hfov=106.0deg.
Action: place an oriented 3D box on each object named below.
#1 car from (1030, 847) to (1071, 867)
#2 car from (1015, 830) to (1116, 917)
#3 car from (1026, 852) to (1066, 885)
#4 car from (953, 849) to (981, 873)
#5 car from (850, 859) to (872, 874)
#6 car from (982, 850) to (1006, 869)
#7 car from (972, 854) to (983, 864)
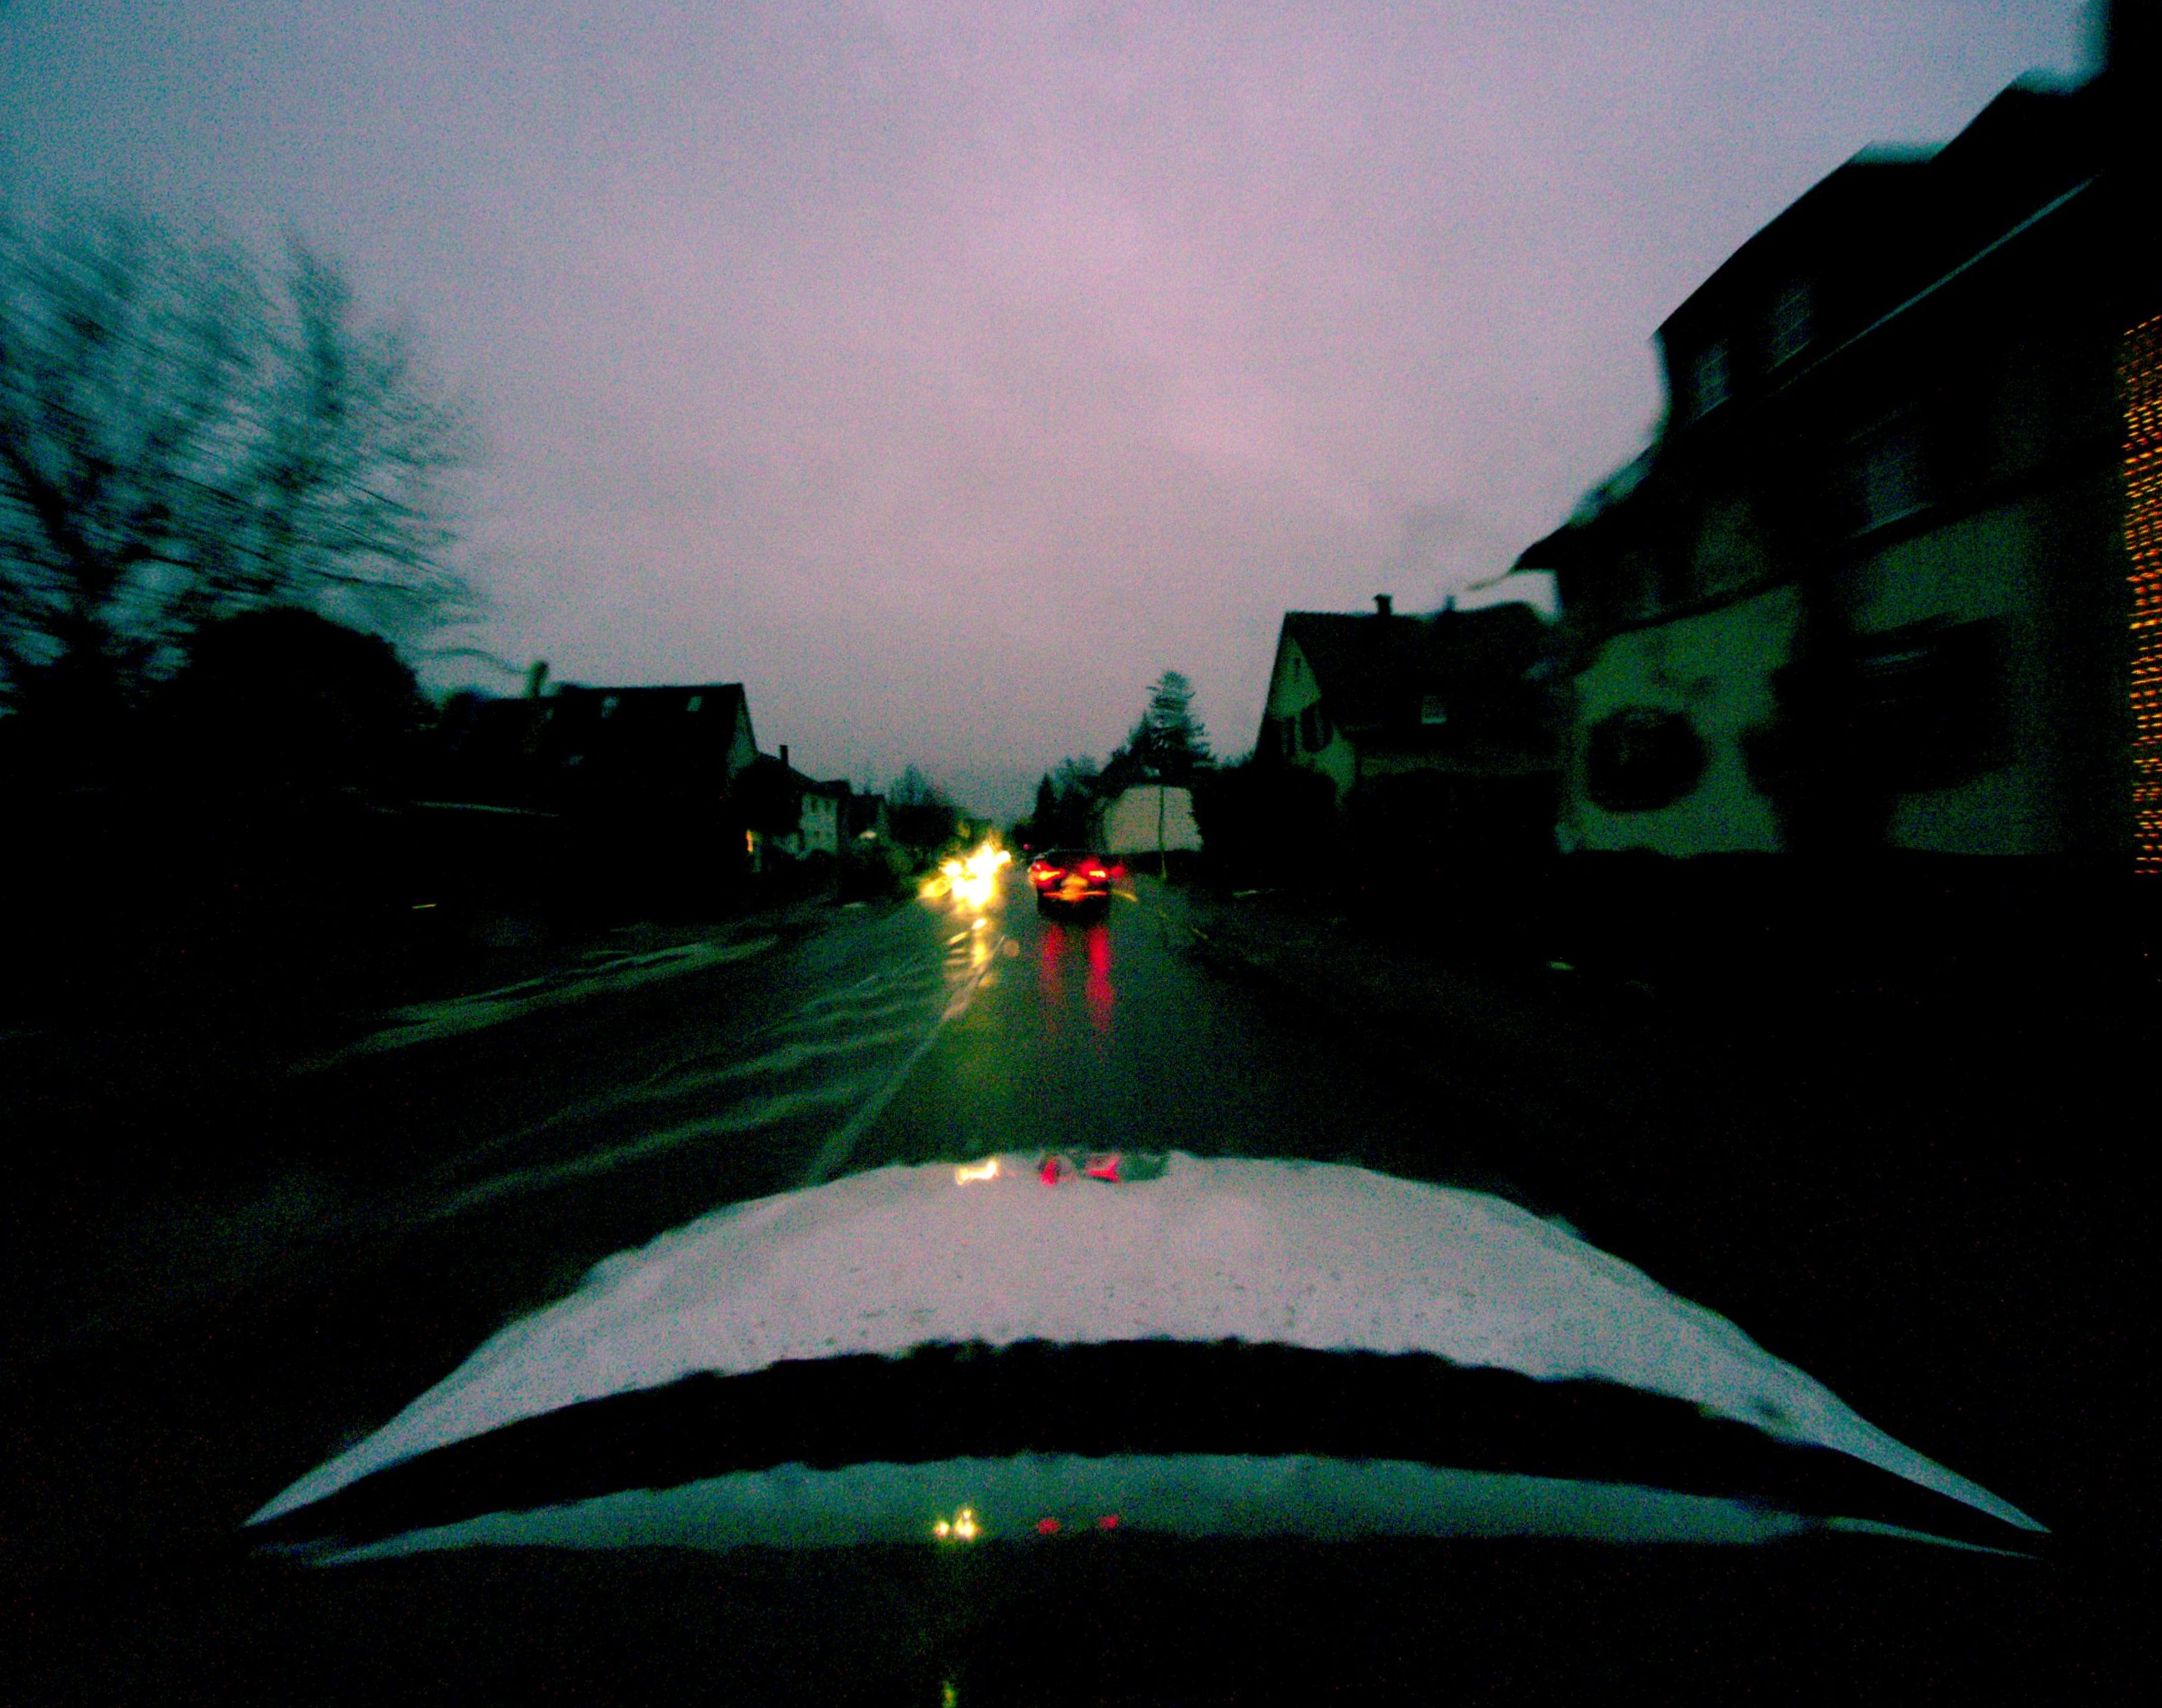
[{"bbox_3d":[-3.305,0.311,87.966,4.239,2.013,1.808,-3,0,-5],"label":"car"},{"bbox_3d":[-0.466,0.479,21.788,2.304,1.938,5.013,-3,0,-3],"label":"car"},{"bbox_3d":[-1.979,0.765,44.560,1.856,1.647,3.990,-2,1,-7],"label":"car"},{"bbox_3d":[-8.315,0.503,59.559,1.821,1.554,3.991,-4,0,-6],"label":"car"},{"bbox_3d":[-20.760,1.196,76.709,1.782,1.393,3.974,0,-1,-19],"label":"car"},{"bbox_3d":[-10.040,0.650,93.829,2.309,1.938,5.001,-3,0,-10],"label":"car"},{"bbox_3d":[-18.350,0.904,144.620,1.911,1.522,3.992,-2,2,-6],"label":"car"}]
